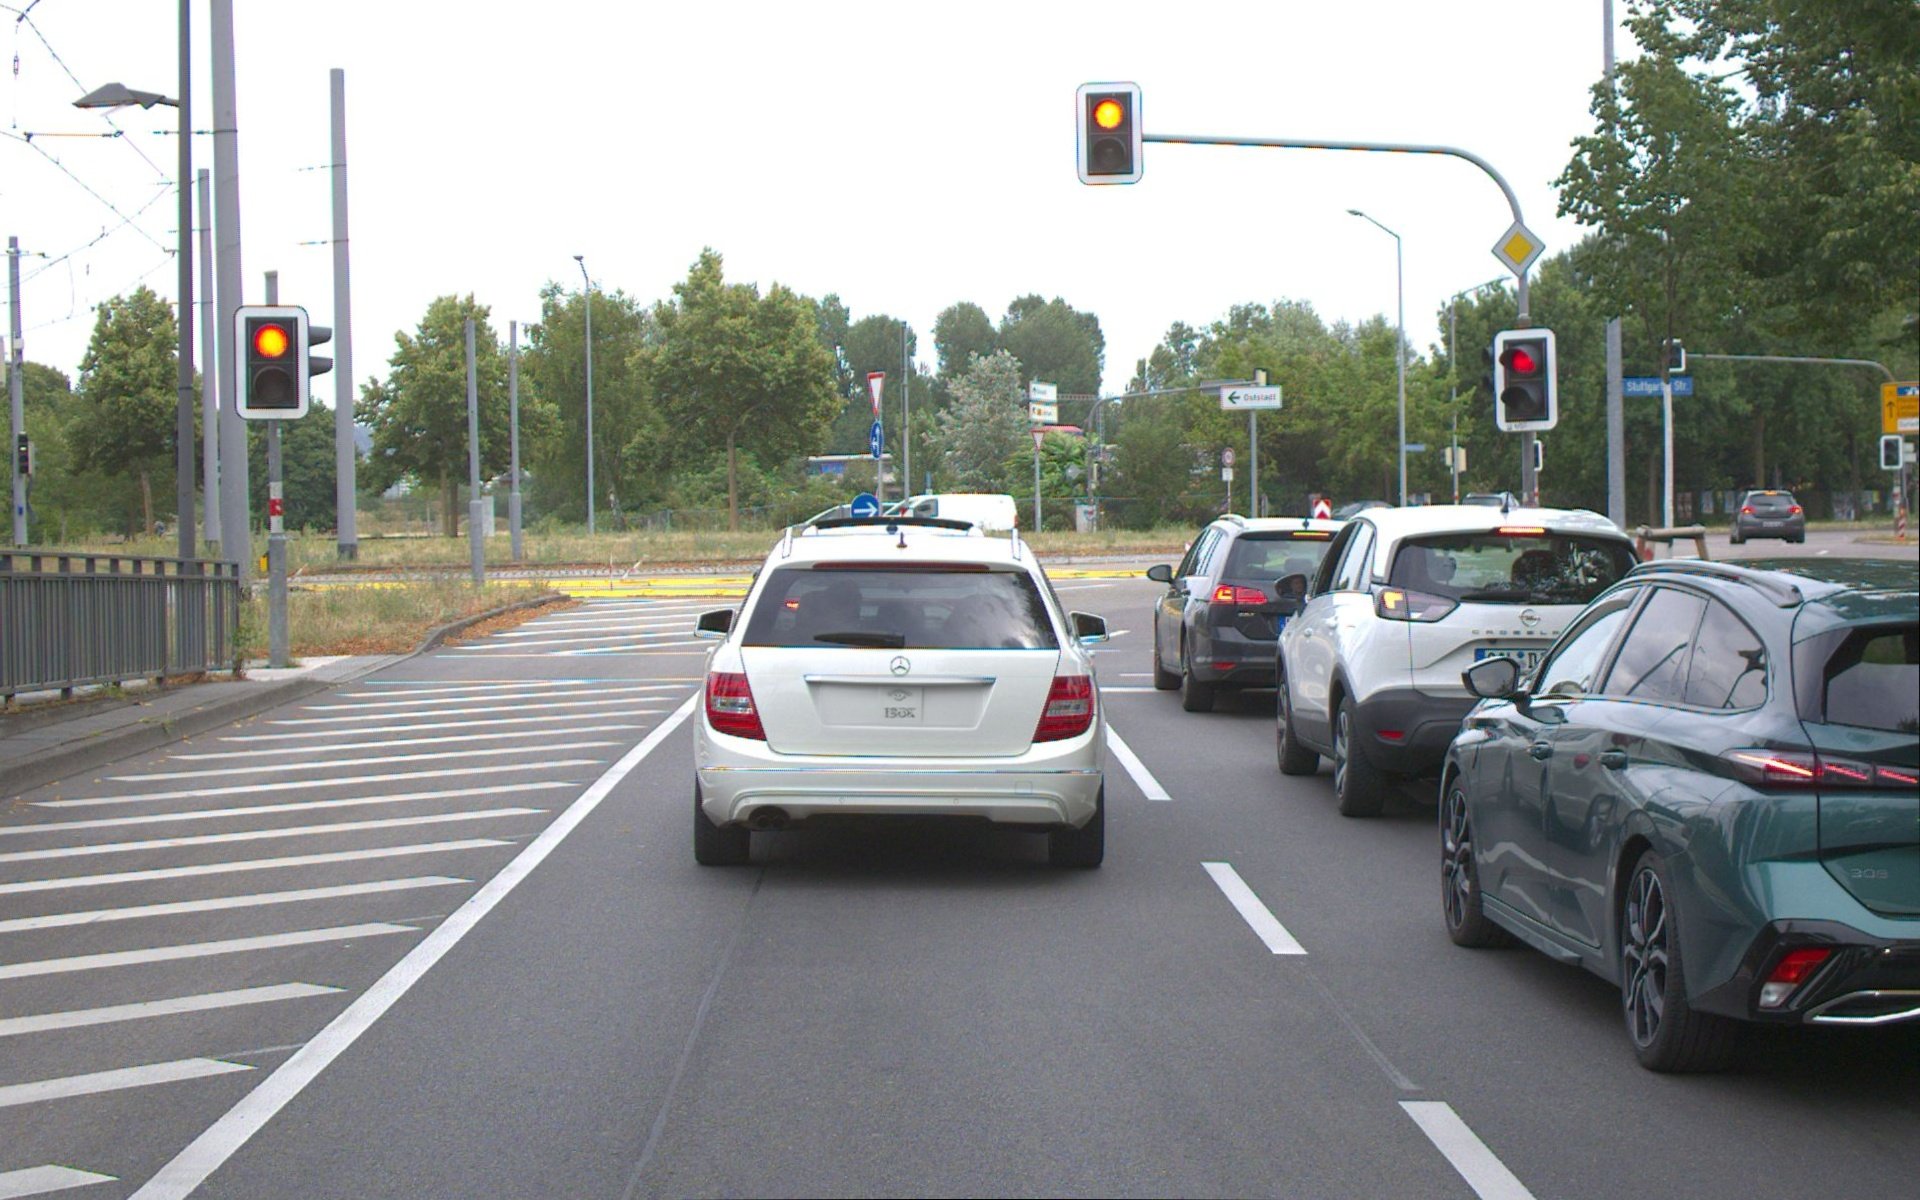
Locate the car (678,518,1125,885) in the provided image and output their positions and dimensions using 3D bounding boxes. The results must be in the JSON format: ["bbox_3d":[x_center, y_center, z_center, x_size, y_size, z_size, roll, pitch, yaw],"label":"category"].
[{"bbox_3d":[-0.309,0.363,15.720,1.773,1.443,3.911,1,2,-2],"label":"car"}]

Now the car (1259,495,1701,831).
[{"bbox_3d":[2.710,0.254,18.737,1.787,1.619,3.911,-1,2,0],"label":"car"}]

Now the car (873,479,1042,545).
[{"bbox_3d":[-0.069,-2.816,109.698,4.982,2.006,2.001,-1,2,-23],"label":"car"}]

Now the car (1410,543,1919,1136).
[{"bbox_3d":[2.672,0.561,10.750,1.787,1.427,4.311,0,2,-3],"label":"car"}]

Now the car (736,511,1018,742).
[{"bbox_3d":[-0.604,0.120,23.792,1.773,1.443,3.911,1,2,-2],"label":"car"}]

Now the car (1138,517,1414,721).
[{"bbox_3d":[2.381,0.089,26.772,1.624,1.443,3.911,1,2,-2],"label":"car"}]

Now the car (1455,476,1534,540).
[{"bbox_3d":[15.507,-2.659,99.898,1.994,1.784,3.999,2,1,6],"label":"car"}]

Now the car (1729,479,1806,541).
[{"bbox_3d":[22.217,-2.485,94.706,1.784,1.630,4.400,0,2,9],"label":"car"}]
